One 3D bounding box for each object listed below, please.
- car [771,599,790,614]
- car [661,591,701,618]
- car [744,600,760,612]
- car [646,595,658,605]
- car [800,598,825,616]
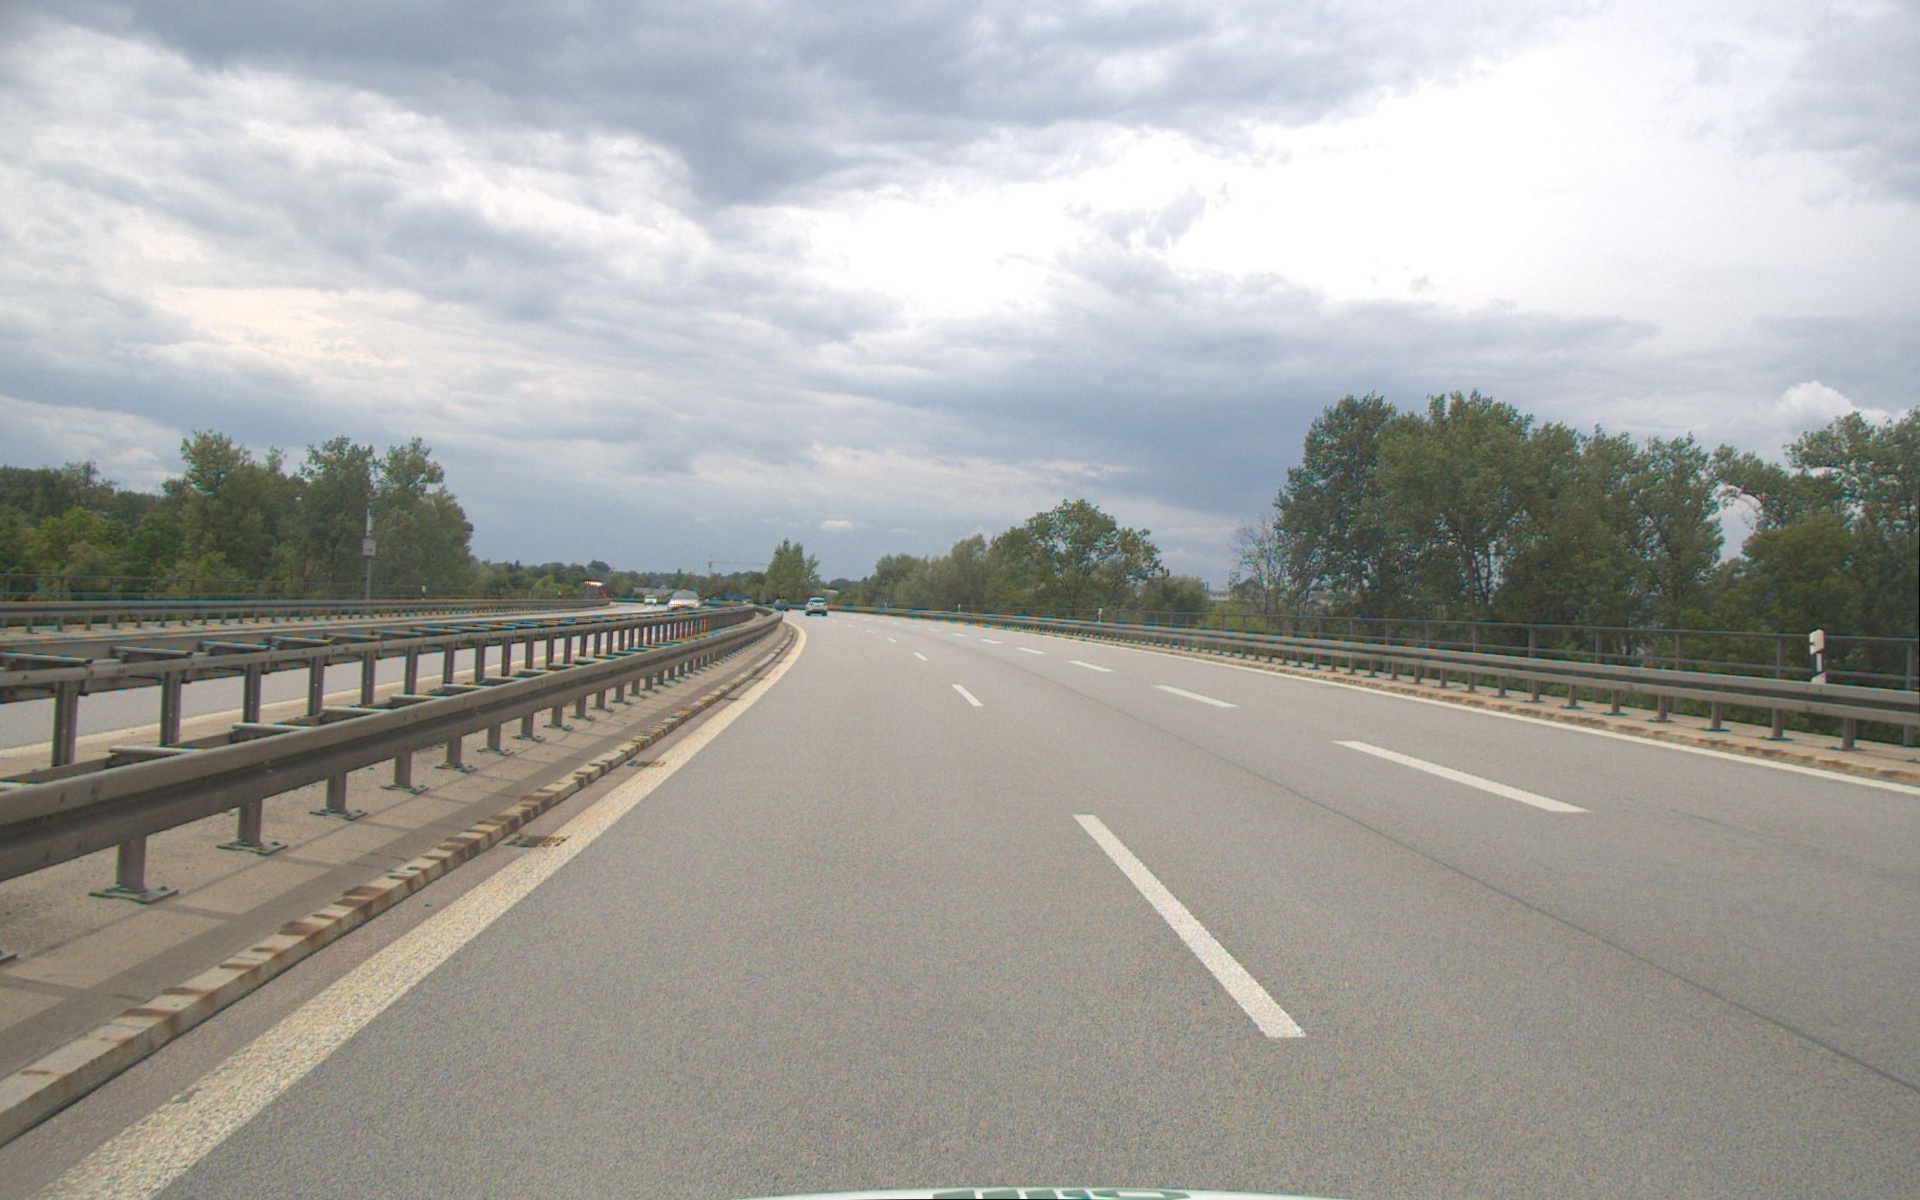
[{"bbox_3d":[-21.975,0.808,202.346,1.859,1.668,4.609,2,0,-11],"label":"car"},{"bbox_3d":[-15.365,0.263,91.253,1.737,1.411,4.383,2,0,-5],"label":"car"},{"bbox_3d":[-30.553,0.844,242.927,1.870,1.668,4.763,2,0,-13],"label":"car"},{"bbox_3d":[-45.451,0.023,244.002,1.502,1.431,4.320,2,0,-8],"label":"car"},{"bbox_3d":[-13.983,0.654,156.867,1.869,1.668,4.383,2,-1,-12],"label":"car"}]
